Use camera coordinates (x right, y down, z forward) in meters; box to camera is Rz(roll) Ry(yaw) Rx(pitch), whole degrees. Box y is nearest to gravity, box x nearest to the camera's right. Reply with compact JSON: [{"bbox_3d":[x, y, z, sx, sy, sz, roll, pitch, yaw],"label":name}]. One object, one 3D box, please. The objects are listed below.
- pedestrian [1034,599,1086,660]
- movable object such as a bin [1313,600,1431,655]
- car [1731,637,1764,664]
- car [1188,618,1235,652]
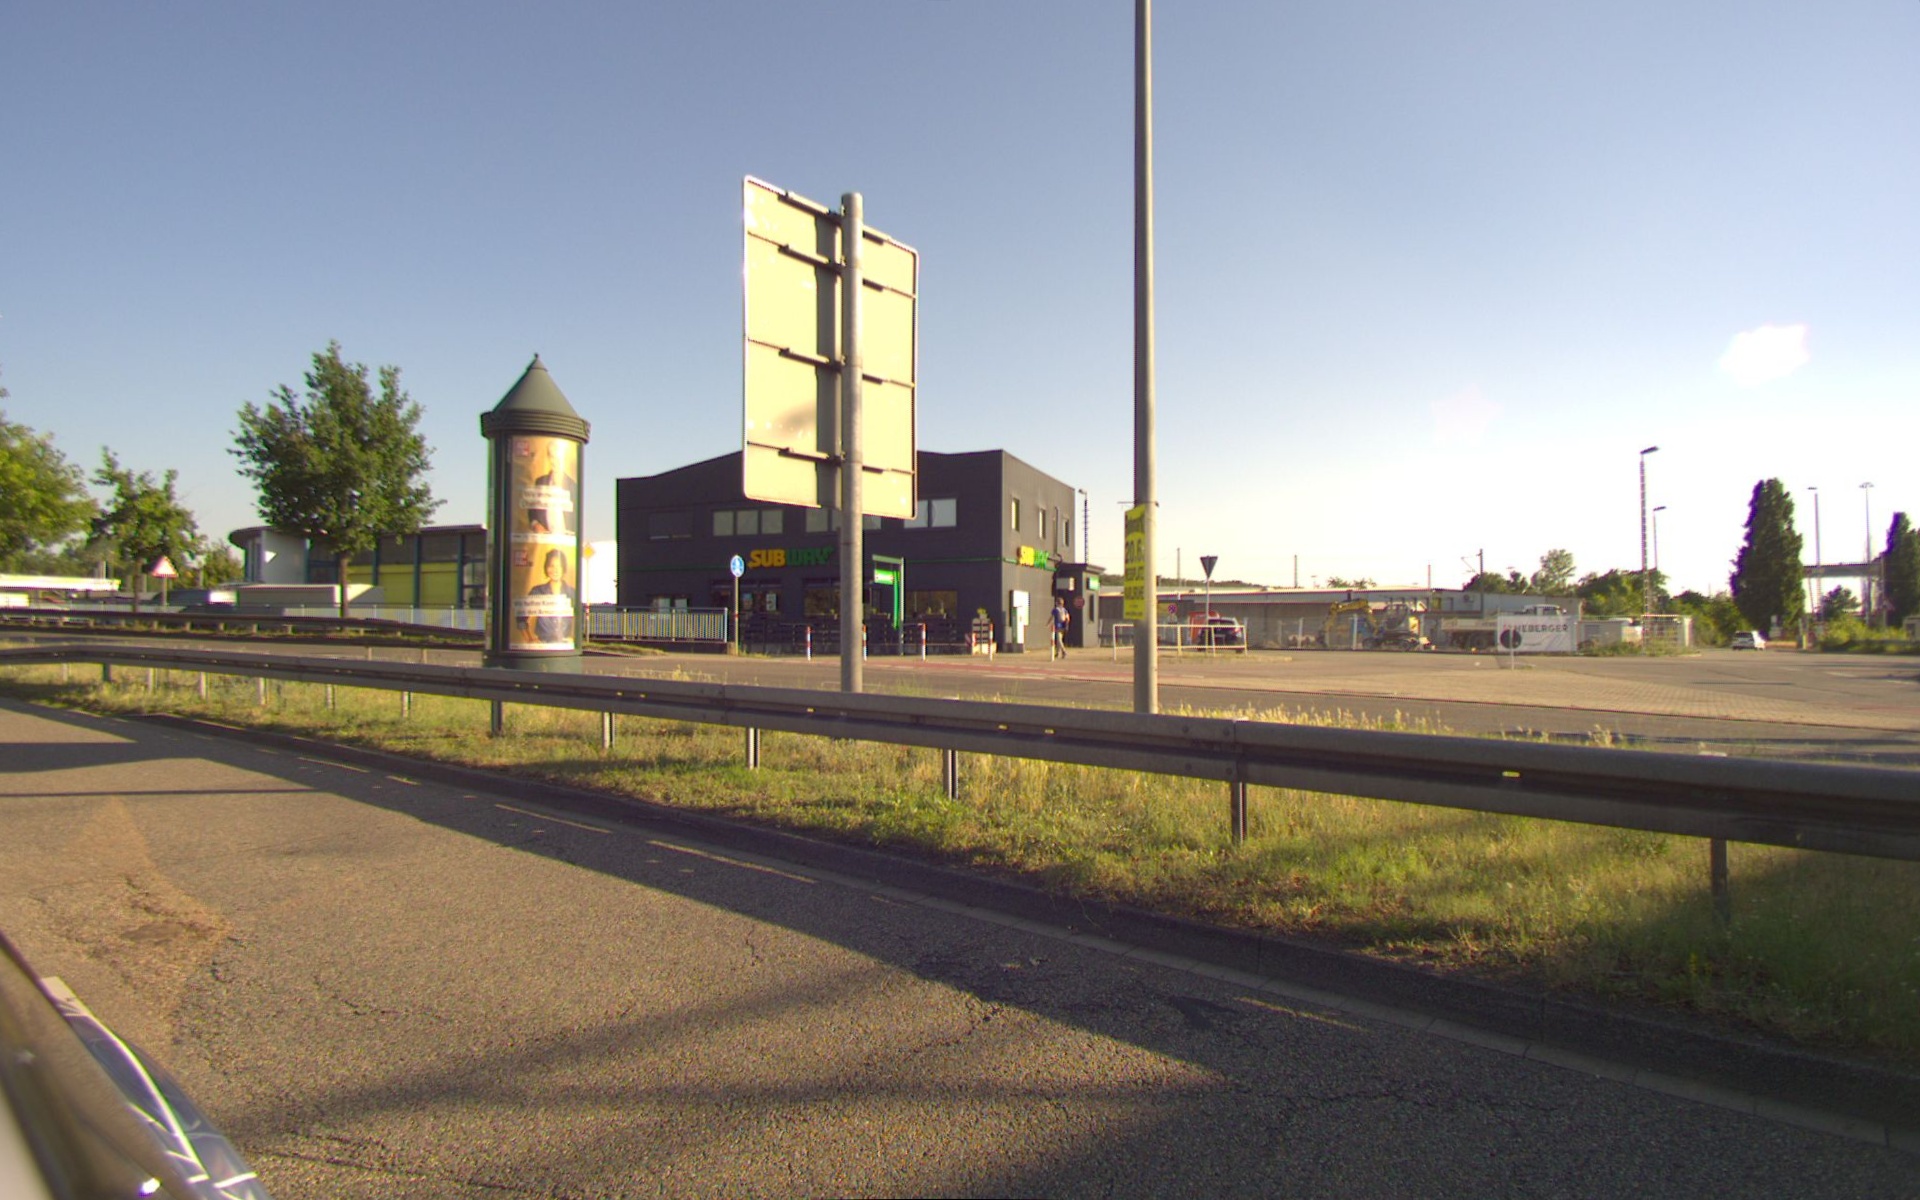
[{"bbox_3d":[3.105,0.899,31.435,1.085,1.849,1.258,-1,0,42],"label":"pedestrian"},{"bbox_3d":[25.323,1.653,62.394,6.587,3.241,2.428,-1,0,23],"label":"movable object such as a bin"},{"bbox_3d":[66.584,4.257,85.631,1.996,2.029,3.952,-1,0,35],"label":"car"},{"bbox_3d":[15.983,2.191,64.095,1.991,2.029,3.962,-1,0,28],"label":"car"}]
